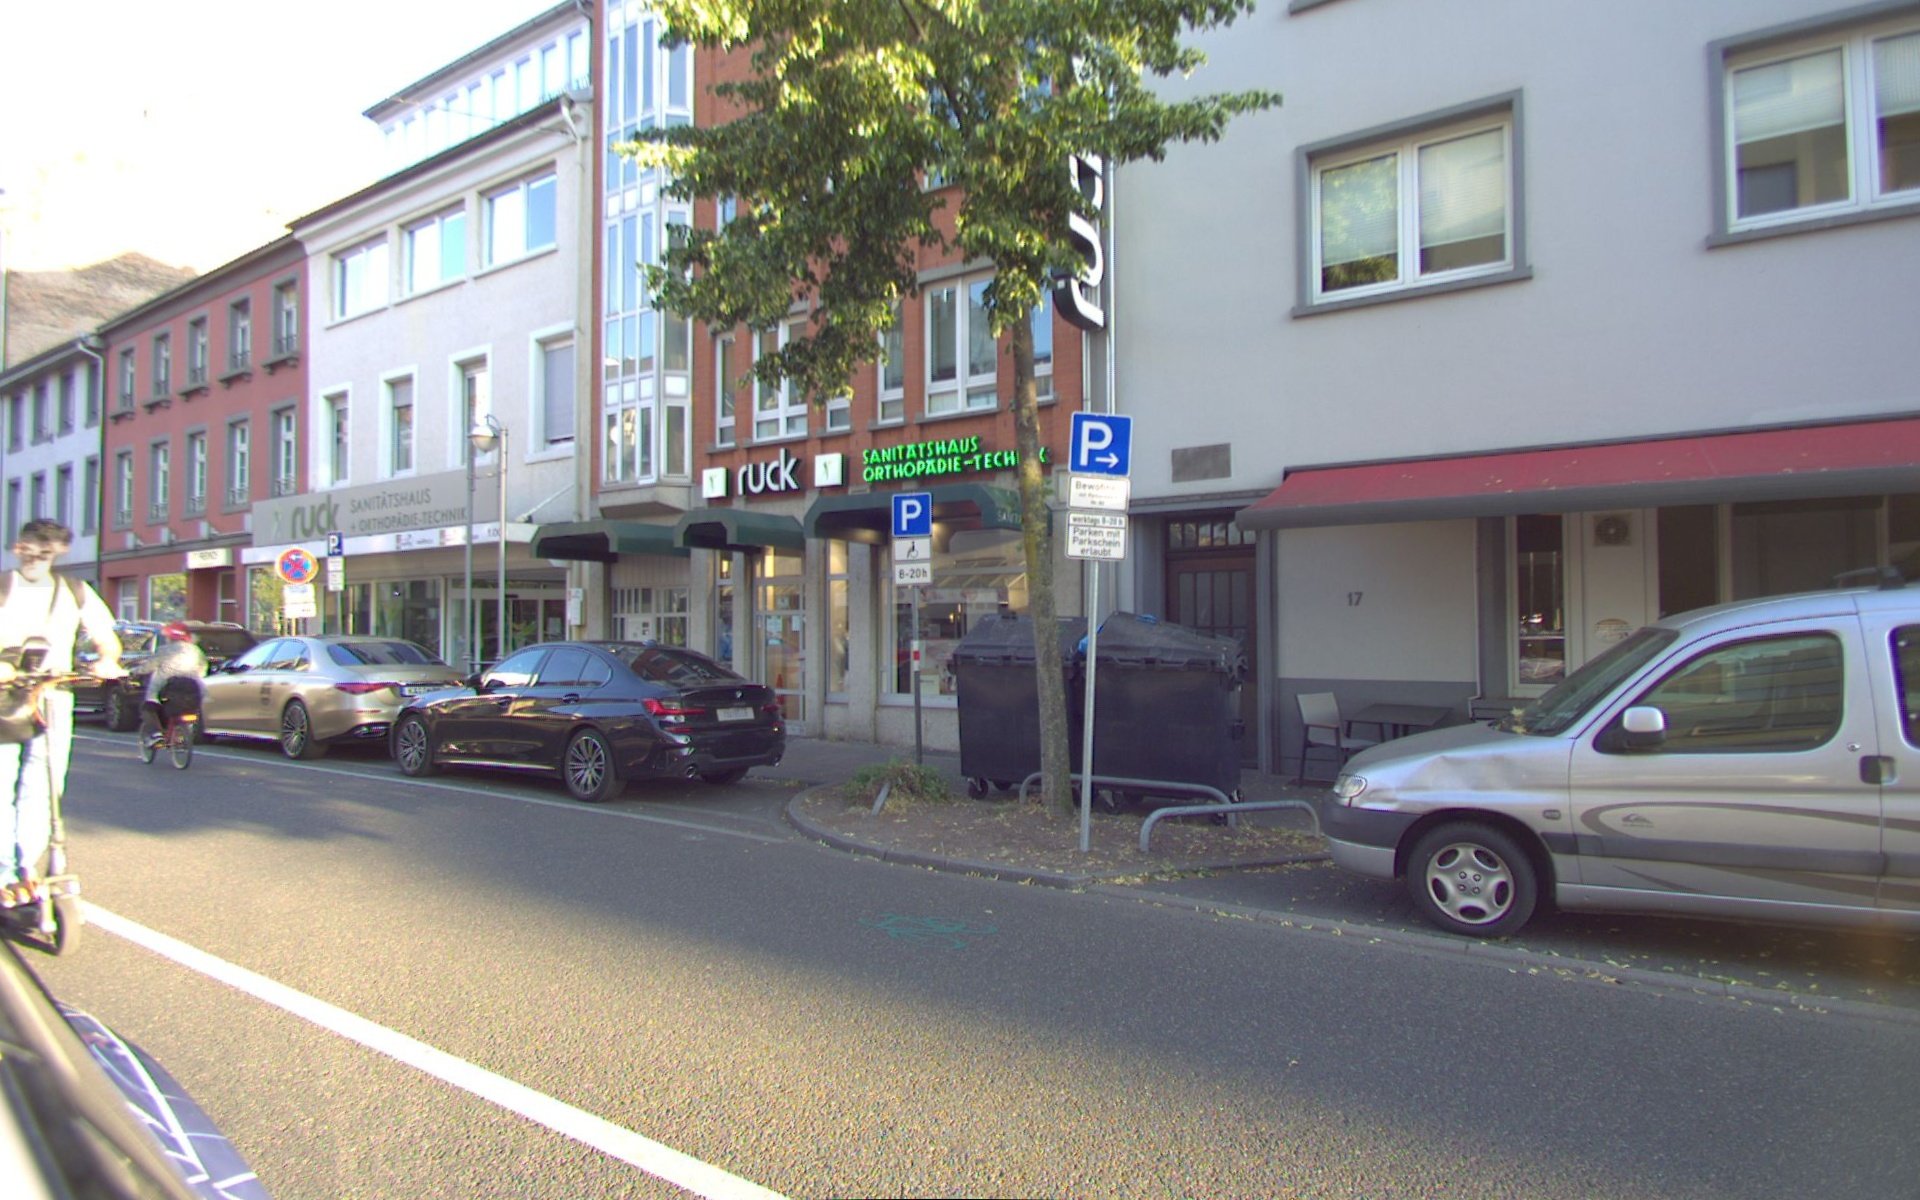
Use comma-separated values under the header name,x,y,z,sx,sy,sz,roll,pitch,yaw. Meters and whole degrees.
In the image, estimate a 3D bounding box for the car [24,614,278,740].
name,x,y,z,sx,sy,sz,roll,pitch,yaw
car,-13.981,1.267,17.408,4.932,1.898,1.952,-2,-3,33

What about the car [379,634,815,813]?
name,x,y,z,sx,sy,sz,roll,pitch,yaw
car,-3.724,1.065,10.142,4.403,1.403,1.786,-1,-1,32

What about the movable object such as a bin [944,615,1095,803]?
name,x,y,z,sx,sy,sz,roll,pitch,yaw
movable object such as a bin,0.531,0.929,9.024,1.097,1.547,0.740,-2,-1,33

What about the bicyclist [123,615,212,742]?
name,x,y,z,sx,sy,sz,roll,pitch,yaw
bicyclist,-8.531,0.819,10.898,0.658,1.312,0.563,-1,0,32

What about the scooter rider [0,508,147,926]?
name,x,y,z,sx,sy,sz,roll,pitch,yaw
scooter rider,-4.414,0.511,4.745,0.788,1.821,0.803,-1,0,41

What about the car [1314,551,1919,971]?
name,x,y,z,sx,sy,sz,roll,pitch,yaw
car,3.969,0.642,4.953,3.984,1.676,1.703,-1,0,30

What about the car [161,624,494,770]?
name,x,y,z,sx,sy,sz,roll,pitch,yaw
car,-8.432,1.169,13.341,4.931,1.612,1.875,-2,-3,34

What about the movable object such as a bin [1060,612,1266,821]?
name,x,y,z,sx,sy,sz,roll,pitch,yaw
movable object such as a bin,1.652,0.883,8.290,1.480,1.555,0.745,-1,0,33

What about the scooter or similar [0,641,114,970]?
name,x,y,z,sx,sy,sz,roll,pitch,yaw
scooter or similar,-4.575,0.884,4.851,1.668,1.361,0.538,-2,-2,41

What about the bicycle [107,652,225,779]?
name,x,y,z,sx,sy,sz,roll,pitch,yaw
bicycle,-8.596,1.206,10.938,1.688,1.246,0.416,-1,0,31

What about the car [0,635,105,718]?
name,x,y,z,sx,sy,sz,roll,pitch,yaw
car,-19.188,1.503,20.572,3.831,1.536,1.718,-2,-2,33
